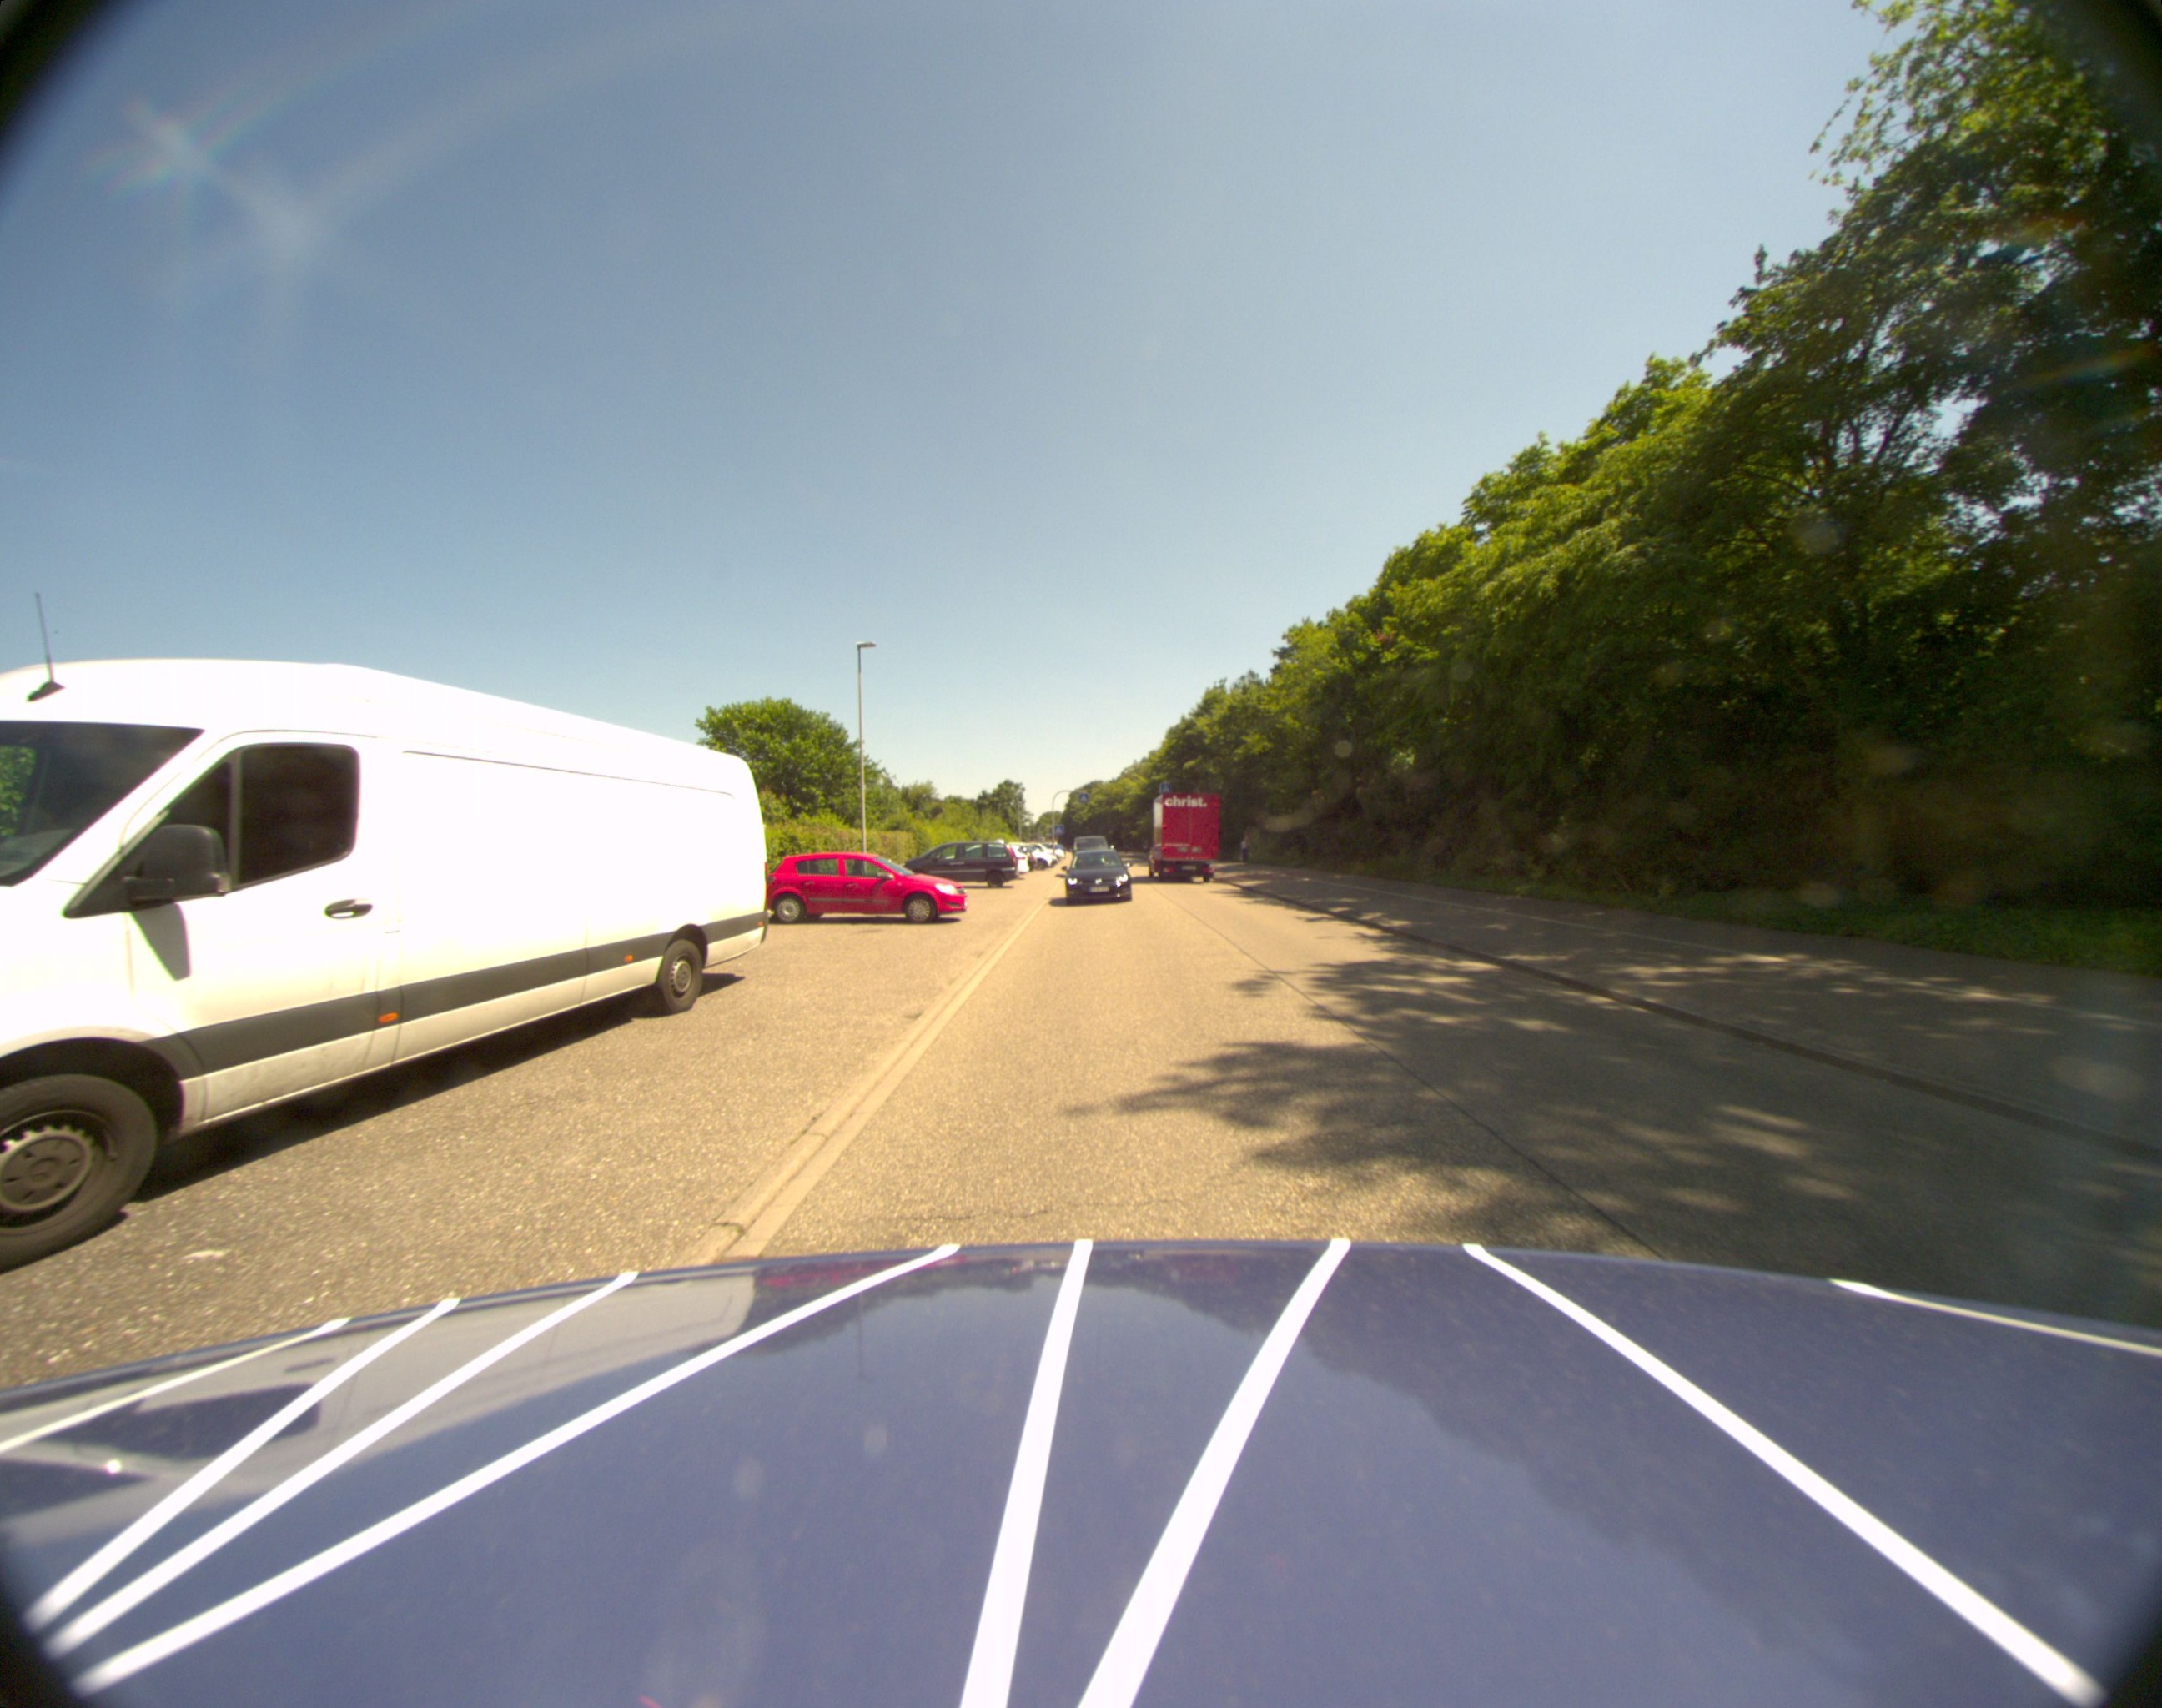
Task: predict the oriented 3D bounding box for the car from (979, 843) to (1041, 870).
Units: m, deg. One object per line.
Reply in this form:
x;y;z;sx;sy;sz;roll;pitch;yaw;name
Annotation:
-4.116;0.143;44.583;3.395;1.495;1.588;0;2;4;car

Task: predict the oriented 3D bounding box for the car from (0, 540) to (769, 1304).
-4.746;0.198;5.314;1.959;2.718;7.166;0;1;2;car

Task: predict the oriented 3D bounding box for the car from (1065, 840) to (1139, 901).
0.478;0.367;20.895;1.743;1.396;4.386;-3;1;-1;car

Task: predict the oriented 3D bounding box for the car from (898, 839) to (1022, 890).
-4.511;0.354;28.950;4.465;1.795;1.951;0;3;-4;car

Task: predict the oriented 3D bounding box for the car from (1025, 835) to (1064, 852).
-3.761;-1.096;79.053;4.036;1.633;1.673;0;3;-1;car

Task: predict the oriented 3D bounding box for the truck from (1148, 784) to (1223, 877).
4.187;-1.013;31.758;2.328;3.421;7.158;0;2;2;truck

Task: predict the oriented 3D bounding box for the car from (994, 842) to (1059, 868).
-3.417;0.036;47.422;3.974;1.514;1.863;1;2;-5;car

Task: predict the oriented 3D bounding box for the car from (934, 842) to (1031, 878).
-4.496;0.271;35.130;4.287;1.569;1.764;0;2;-1;car

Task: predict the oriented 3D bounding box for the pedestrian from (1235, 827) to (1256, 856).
9.397;-0.709;43.437;0.934;1.604;0.885;-3;3;0;pedestrian

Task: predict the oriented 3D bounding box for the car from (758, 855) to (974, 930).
-4.407;0.765;16.082;4.065;1.426;1.835;0;2;-2;car

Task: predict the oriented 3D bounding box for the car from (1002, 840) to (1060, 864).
-3.493;-0.157;53.419;3.971;1.631;1.662;1;2;-4;car

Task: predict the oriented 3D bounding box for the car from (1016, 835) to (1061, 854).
-3.863;-0.899;69.246;3.983;1.676;1.765;-1;2;0;car

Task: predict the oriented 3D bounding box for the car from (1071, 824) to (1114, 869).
0.503;-0.405;35.923;1.743;1.905;4.386;-4;2;-1;car

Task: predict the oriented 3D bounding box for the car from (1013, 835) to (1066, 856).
-3.576;-0.753;66.376;4.464;1.720;1.850;-1;3;1;car
